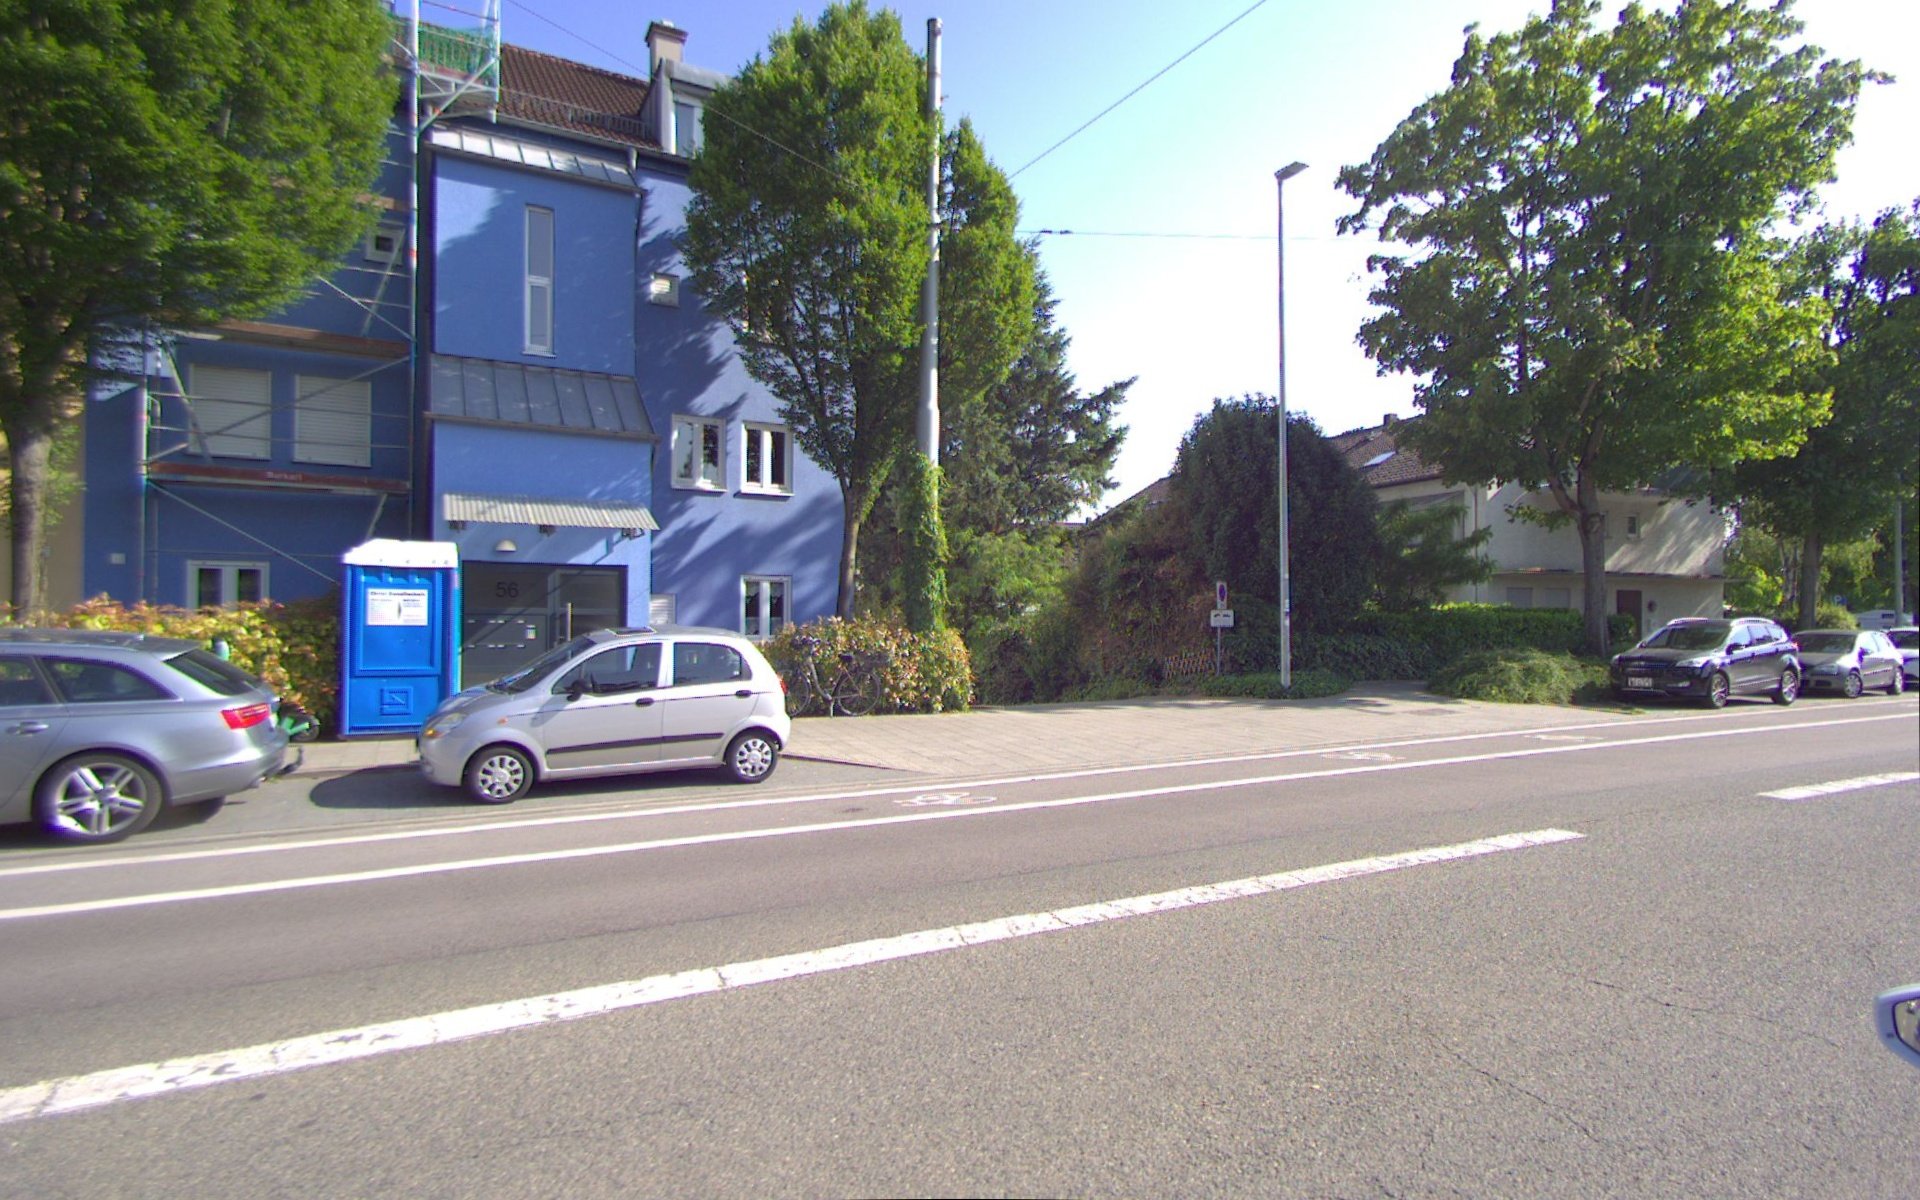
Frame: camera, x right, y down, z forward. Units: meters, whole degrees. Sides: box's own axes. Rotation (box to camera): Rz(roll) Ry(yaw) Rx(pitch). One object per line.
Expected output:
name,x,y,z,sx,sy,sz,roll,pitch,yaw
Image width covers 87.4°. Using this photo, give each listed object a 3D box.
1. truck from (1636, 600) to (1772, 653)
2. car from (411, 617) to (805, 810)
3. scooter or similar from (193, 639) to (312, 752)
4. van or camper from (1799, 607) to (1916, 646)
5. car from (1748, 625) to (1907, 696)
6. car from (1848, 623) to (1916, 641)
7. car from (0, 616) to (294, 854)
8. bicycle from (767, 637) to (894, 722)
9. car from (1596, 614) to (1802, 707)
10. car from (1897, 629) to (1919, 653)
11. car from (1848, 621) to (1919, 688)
truck,48.473,1.754,65.677,1.964,3.285,6.930,1,-2,-30
car,-3.483,0.994,9.998,3.467,1.515,1.593,1,3,-30
scooter or similar,-7.628,1.011,10.866,1.032,1.169,0.292,1,-1,-34
van or camper,69.857,2.021,78.298,2.278,2.906,6.440,1,-1,-27
car,20.045,1.340,23.181,3.923,1.488,1.668,1,-1,-31
car,72.807,2.535,79.395,1.718,1.416,3.644,1,-2,-31
car,-7.740,0.946,7.336,4.702,1.531,1.739,1,3,-32
bicycle,-1.857,1.133,14.476,1.759,1.169,0.442,1,-1,-23
car,14.927,1.149,20.240,4.367,1.716,1.667,1,-1,-29
car,53.367,2.208,54.091,1.718,1.324,3.967,1,-2,-31
car,24.691,1.367,25.941,3.851,1.571,1.592,1,1,-32
